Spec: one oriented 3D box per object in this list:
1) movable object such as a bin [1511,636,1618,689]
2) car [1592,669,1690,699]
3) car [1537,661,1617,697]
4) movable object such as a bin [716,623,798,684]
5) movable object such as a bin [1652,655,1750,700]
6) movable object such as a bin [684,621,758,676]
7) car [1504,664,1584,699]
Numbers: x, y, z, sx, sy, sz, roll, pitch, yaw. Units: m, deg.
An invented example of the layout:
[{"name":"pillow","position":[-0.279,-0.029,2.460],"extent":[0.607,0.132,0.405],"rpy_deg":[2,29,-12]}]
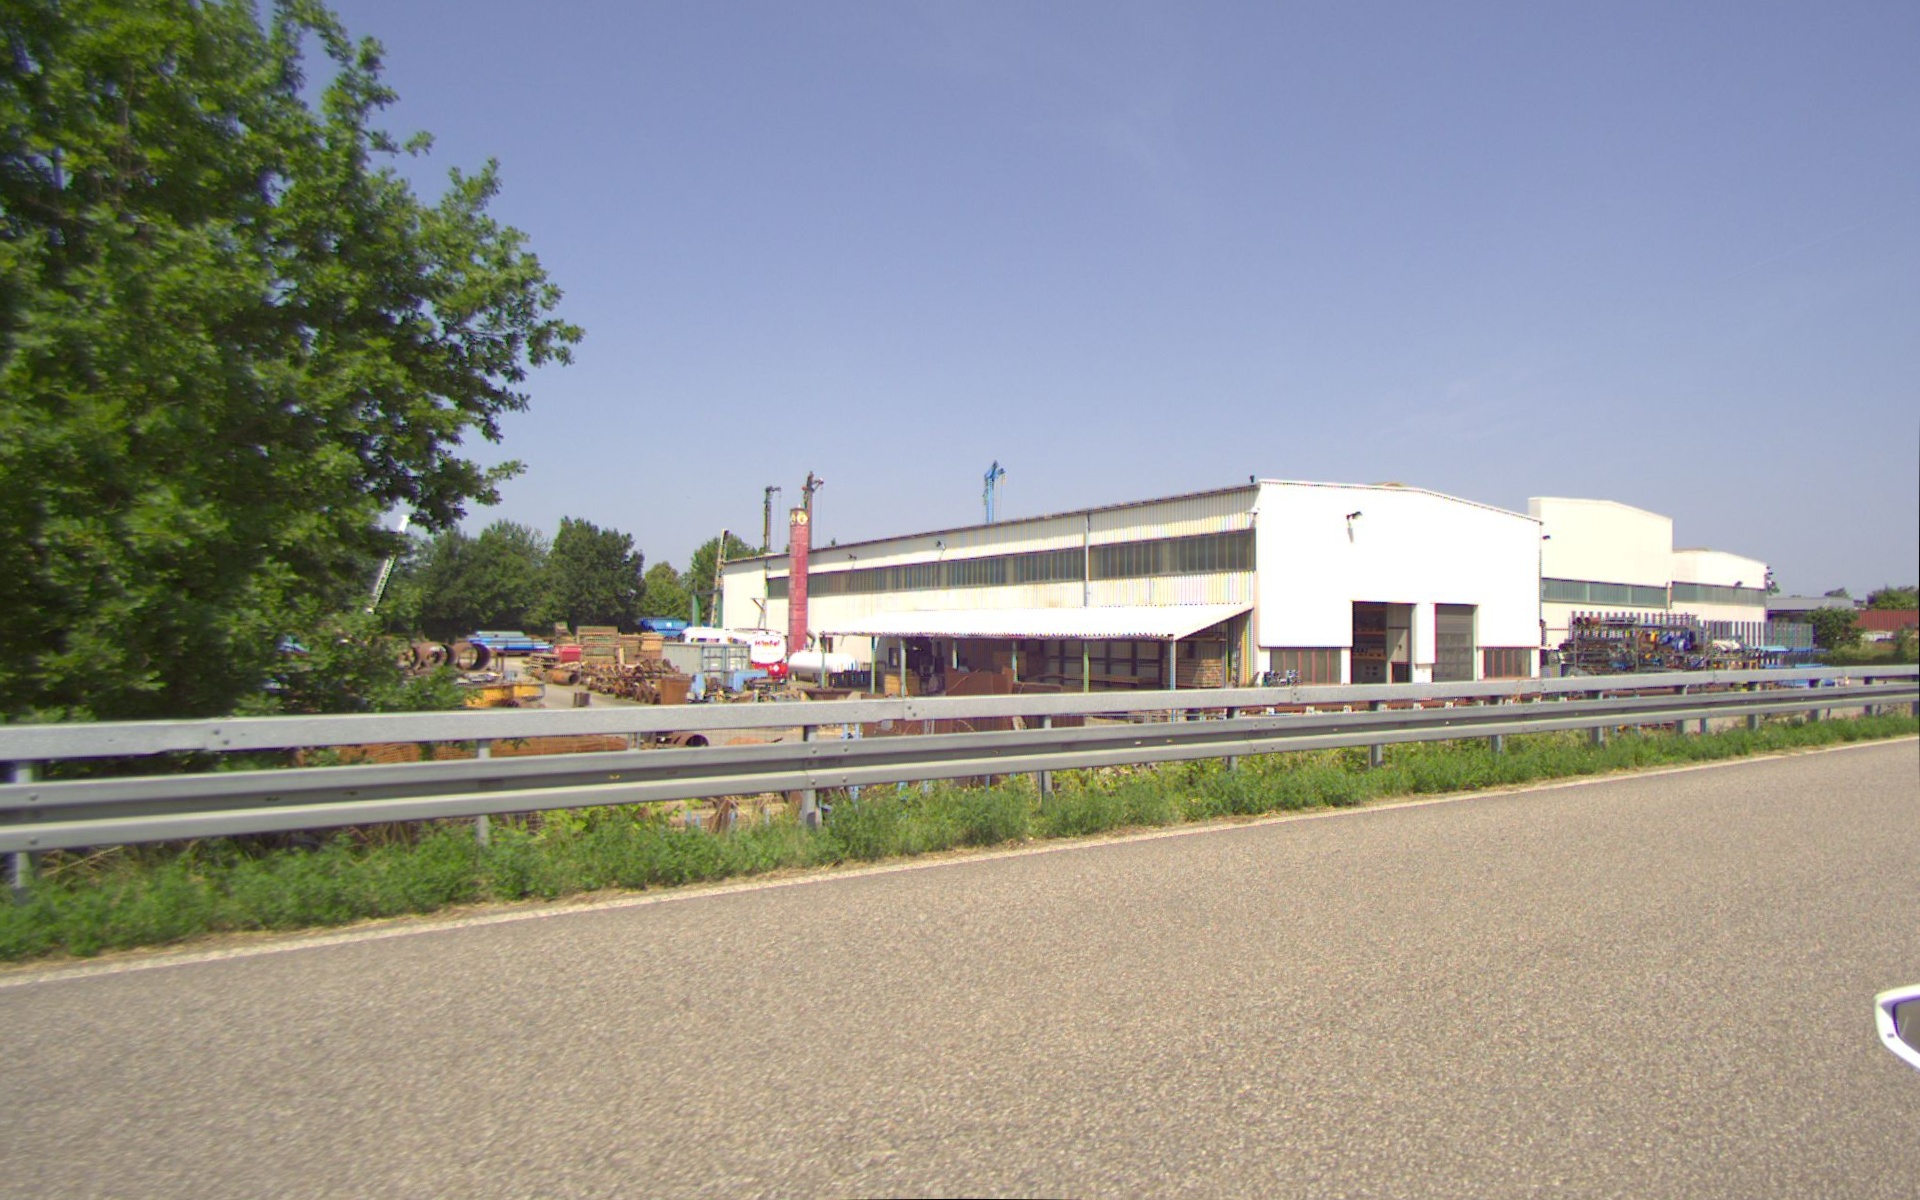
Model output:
[{"name":"movable object such as a bin","position":[33.301,3.512,55.463],"extent":[2.115,2.714,4.511],"rpy_deg":[2,-6,-38]},{"name":"car","position":[36.666,4.485,54.162],"extent":[1.708,1.540,3.962],"rpy_deg":[1,-4,-35]},{"name":"car","position":[32.426,4.179,52.825],"extent":[1.657,1.796,3.115],"rpy_deg":[2,-6,-33]},{"name":"movable object such as a bin","position":[-12.591,3.216,61.964],"extent":[3.151,3.425,6.074],"rpy_deg":[1,-1,-30]},{"name":"movable object such as a bin","position":[39.513,4.077,53.641],"extent":[1.835,2.040,3.834],"rpy_deg":[2,0,-36]},{"name":"movable object such as a bin","position":[-16.452,3.244,68.892],"extent":[3.150,3.425,7.088],"rpy_deg":[1,-1,-29]},{"name":"car","position":[30.371,4.252,52.278],"extent":[1.452,1.696,3.235],"rpy_deg":[2,-6,-34]}]
